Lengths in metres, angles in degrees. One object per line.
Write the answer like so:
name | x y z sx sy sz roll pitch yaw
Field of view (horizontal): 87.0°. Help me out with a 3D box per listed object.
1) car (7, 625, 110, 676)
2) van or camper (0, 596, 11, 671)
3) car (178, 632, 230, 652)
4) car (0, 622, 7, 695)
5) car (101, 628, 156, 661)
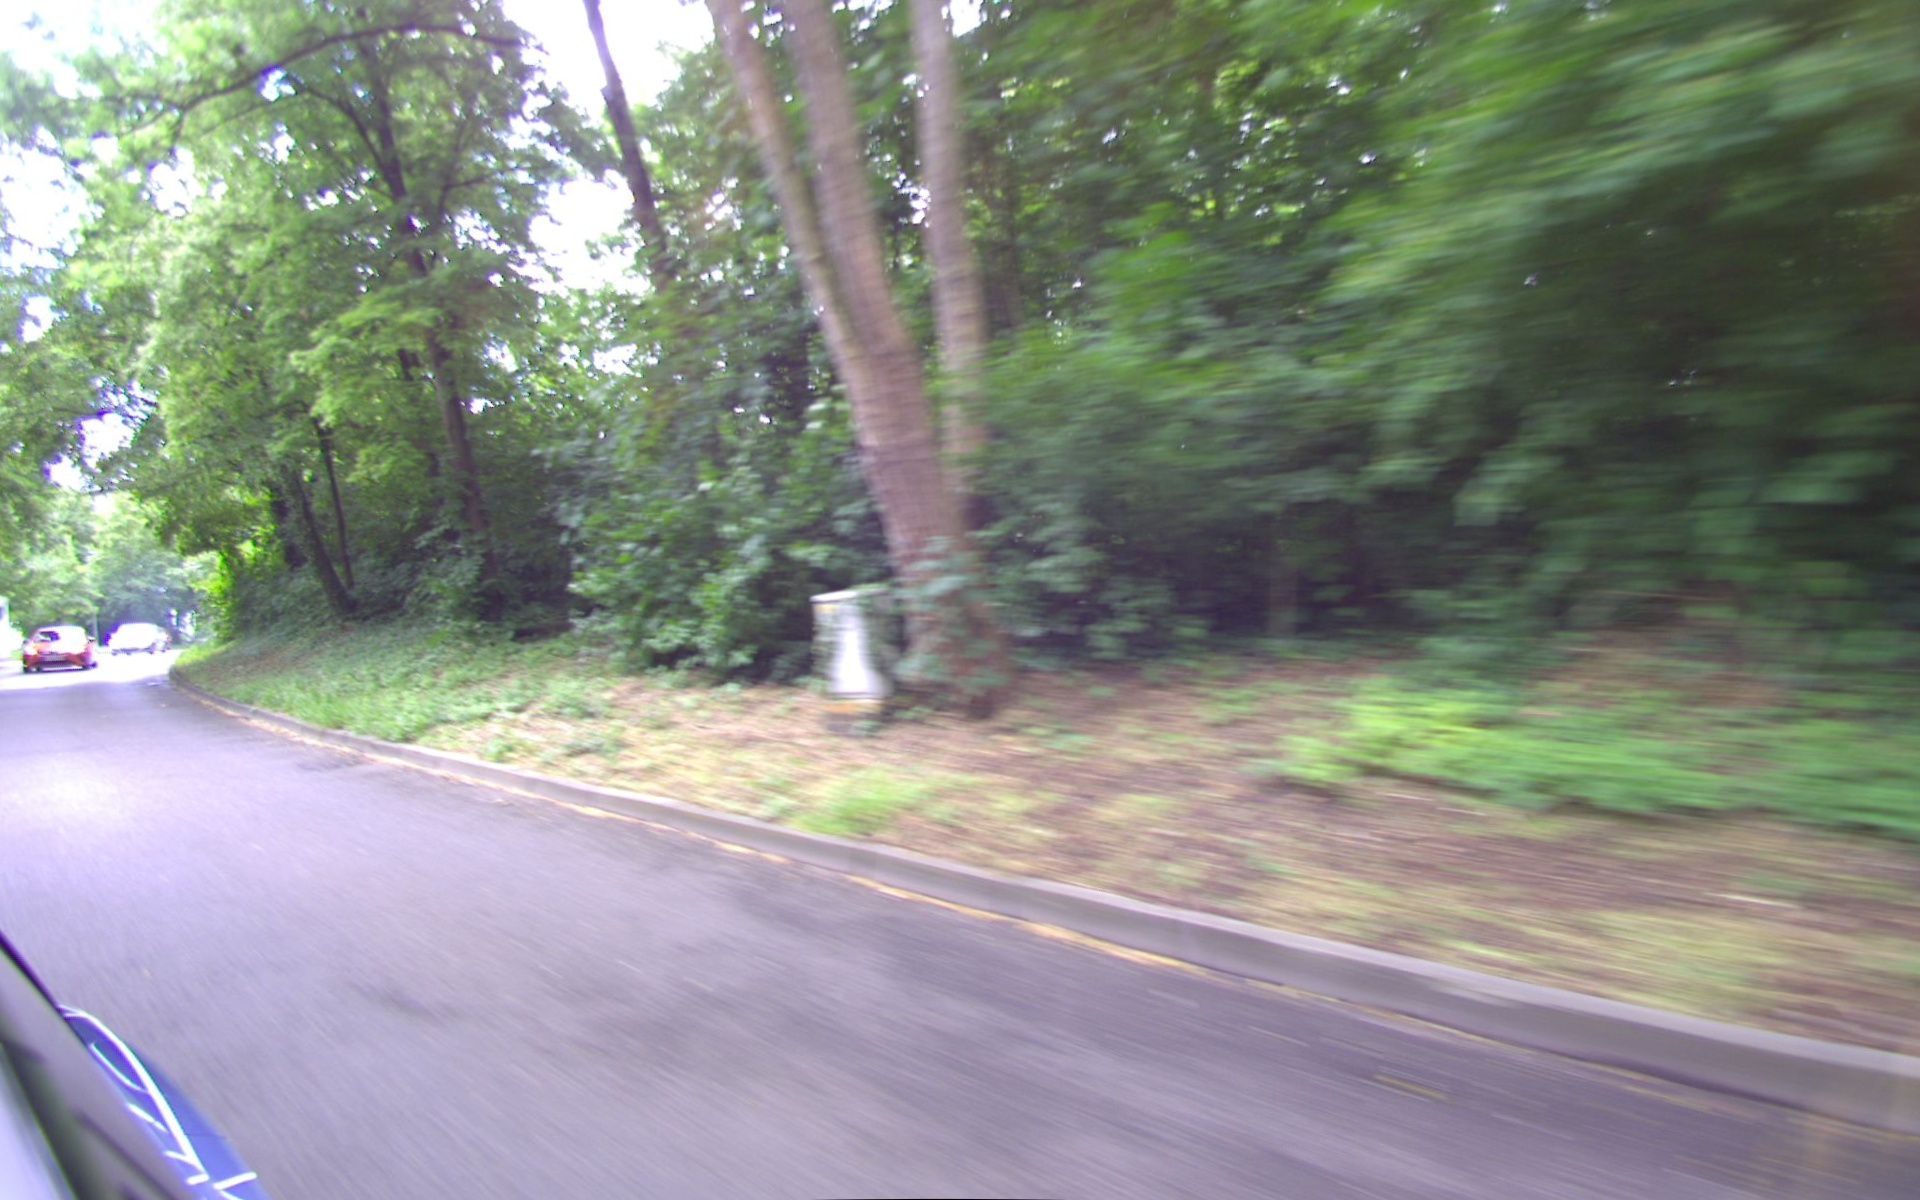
car | -30.597 1.667 34.481 1.927 1.483 4.689 -3 0 -34
van or camper | -38.142 1.341 37.877 2.392 3.002 7.413 -3 0 -32
car | -56.297 3.111 75.451 1.687 1.265 4.692 -3 0 -18
car | -21.074 1.288 20.518 1.972 1.620 4.687 -3 0 -37
car | -44.238 2.370 53.811 4.045 1.580 1.633 -3 0 42
